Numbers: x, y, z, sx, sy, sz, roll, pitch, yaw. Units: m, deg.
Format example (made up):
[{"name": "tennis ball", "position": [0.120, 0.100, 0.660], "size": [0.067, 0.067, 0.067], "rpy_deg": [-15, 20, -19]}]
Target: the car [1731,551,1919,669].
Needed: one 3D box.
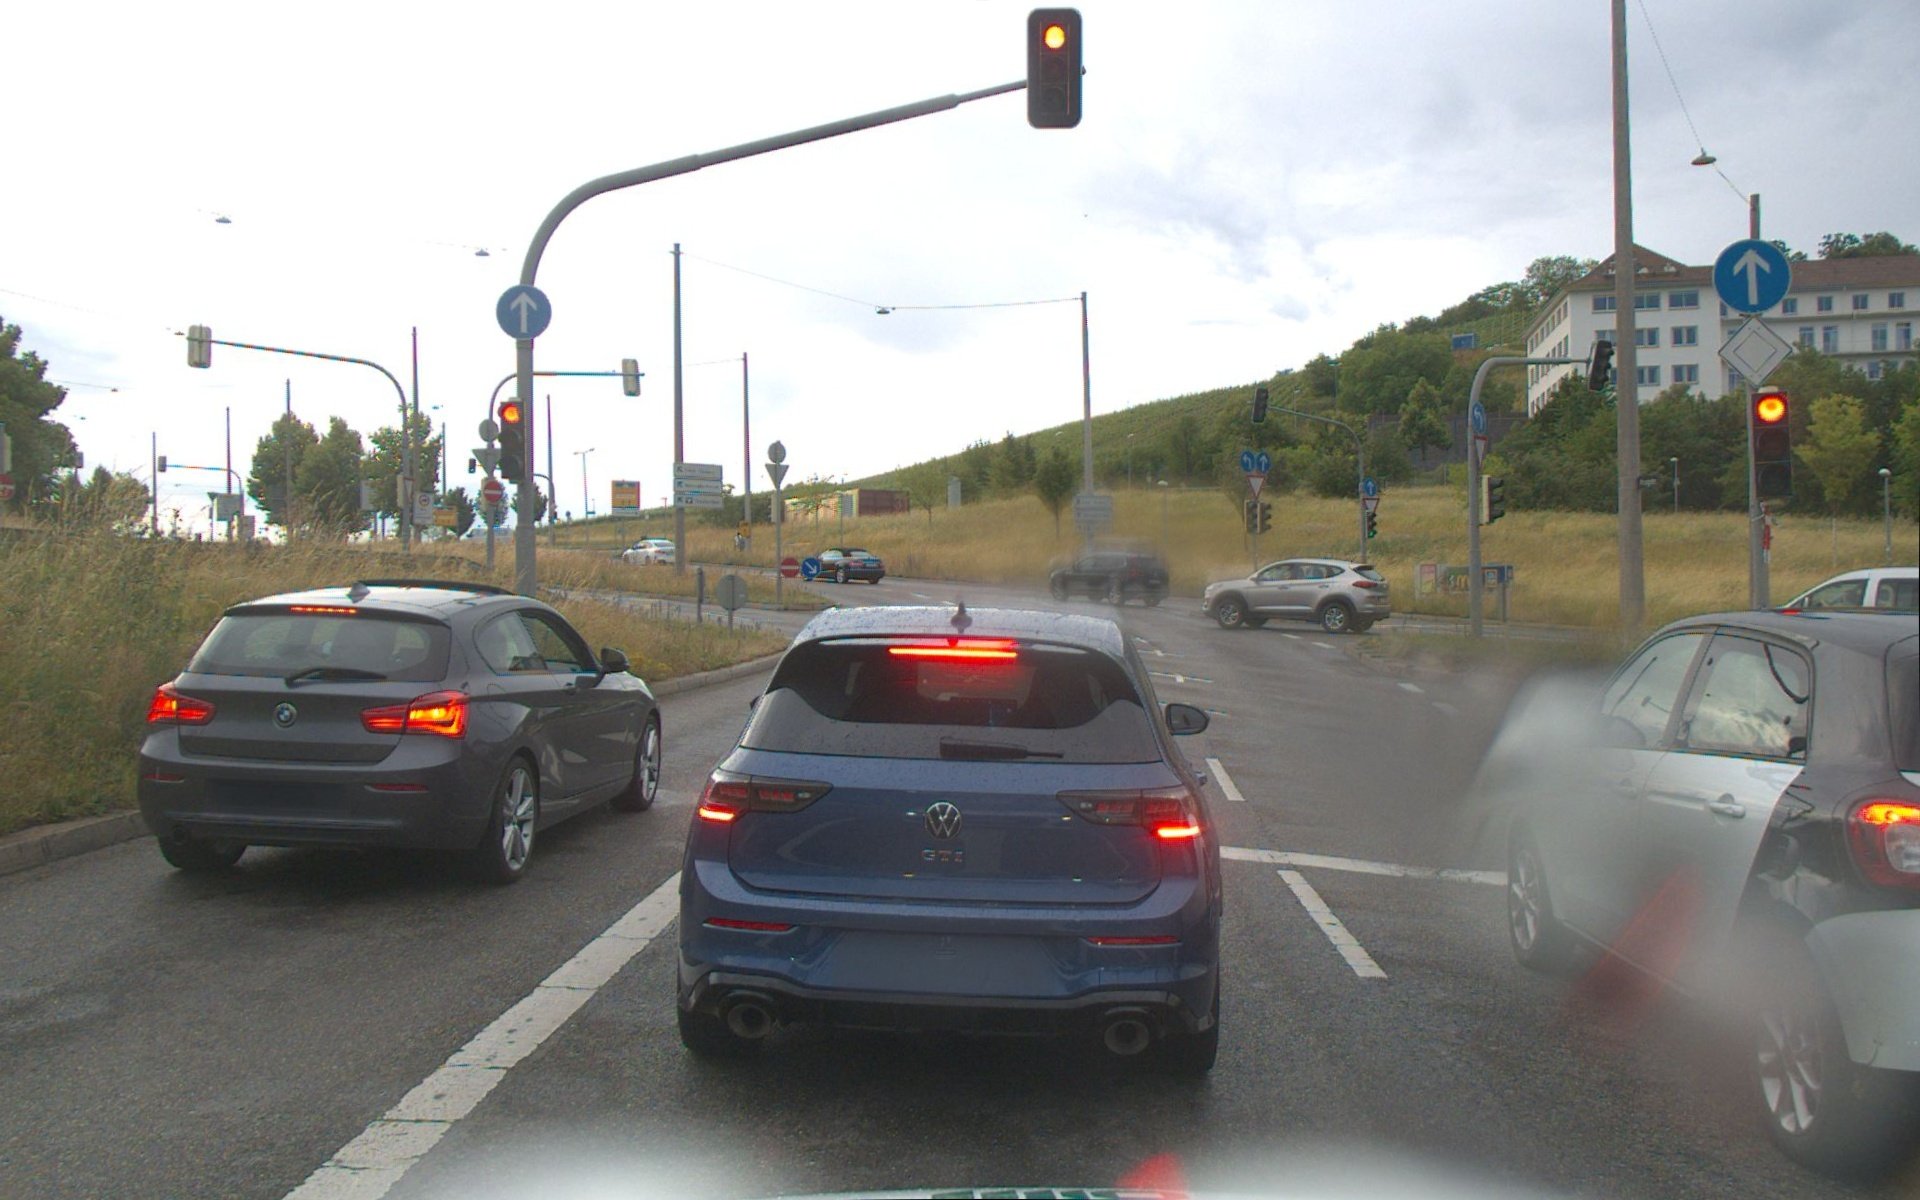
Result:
[{"name": "car", "position": [15.592, 0.174, 27.620], "size": [1.806, 1.882, 4.627], "rpy_deg": [2, -1, -41]}]

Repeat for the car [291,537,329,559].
[{"name": "car", "position": [-54.467, -4.338, 138.489], "size": [1.978, 1.688, 4.298], "rpy_deg": [1, -1, -36]}]

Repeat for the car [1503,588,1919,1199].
[{"name": "car", "position": [3.197, 0.766, 5.780], "size": [1.623, 1.529, 3.452], "rpy_deg": [1, -1, 3]}]

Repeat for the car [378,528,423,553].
[{"name": "car", "position": [-42.604, -4.513, 125.853], "size": [1.978, 1.688, 4.487], "rpy_deg": [1, -1, -36]}]

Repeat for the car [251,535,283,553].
[{"name": "car", "position": [-68.916, -5.573, 164.458], "size": [1.978, 1.688, 4.488], "rpy_deg": [2, 1, -36]}]

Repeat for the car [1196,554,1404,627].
[{"name": "car", "position": [8.022, -0.214, 39.128], "size": [4.428, 1.649, 1.995], "rpy_deg": [0, -1, 32]}]

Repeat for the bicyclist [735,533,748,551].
[{"name": "bicyclist", "position": [-13.485, -3.561, 102.066], "size": [0.518, 1.065, 0.574], "rpy_deg": [4, 0, -33]}]

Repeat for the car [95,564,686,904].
[{"name": "car", "position": [-2.877, 0.614, 9.400], "size": [1.667, 1.485, 4.116], "rpy_deg": [0, -1, 4]}]

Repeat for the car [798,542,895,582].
[{"name": "car", "position": [-4.719, -1.529, 68.106], "size": [1.978, 1.503, 4.446], "rpy_deg": [1, -1, -36]}]

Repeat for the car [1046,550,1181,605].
[{"name": "car", "position": [4.946, -0.704, 53.818], "size": [1.979, 1.665, 4.362], "rpy_deg": [1, -1, -37]}]

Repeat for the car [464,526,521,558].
[{"name": "car", "position": [-29.917, -3.669, 105.800], "size": [2.111, 1.826, 4.683], "rpy_deg": [1, -1, -34]}]

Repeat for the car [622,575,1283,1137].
[{"name": "car", "position": [0.117, 0.680, 6.386], "size": [1.786, 1.486, 3.810], "rpy_deg": [1, 0, 4]}]

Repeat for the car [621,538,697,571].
[{"name": "car", "position": [-15.090, -2.238, 82.721], "size": [1.979, 1.503, 4.362], "rpy_deg": [1, -1, -37]}]

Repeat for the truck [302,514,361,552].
[{"name": "truck", "position": [-56.312, -6.016, 148.181], "size": [3.234, 3.128, 6.096], "rpy_deg": [4, 0, -37]}]

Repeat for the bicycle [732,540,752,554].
[{"name": "bicycle", "position": [-13.460, -3.270, 102.015], "size": [0.513, 0.788, 1.602], "rpy_deg": [3, 0, -33]}]
